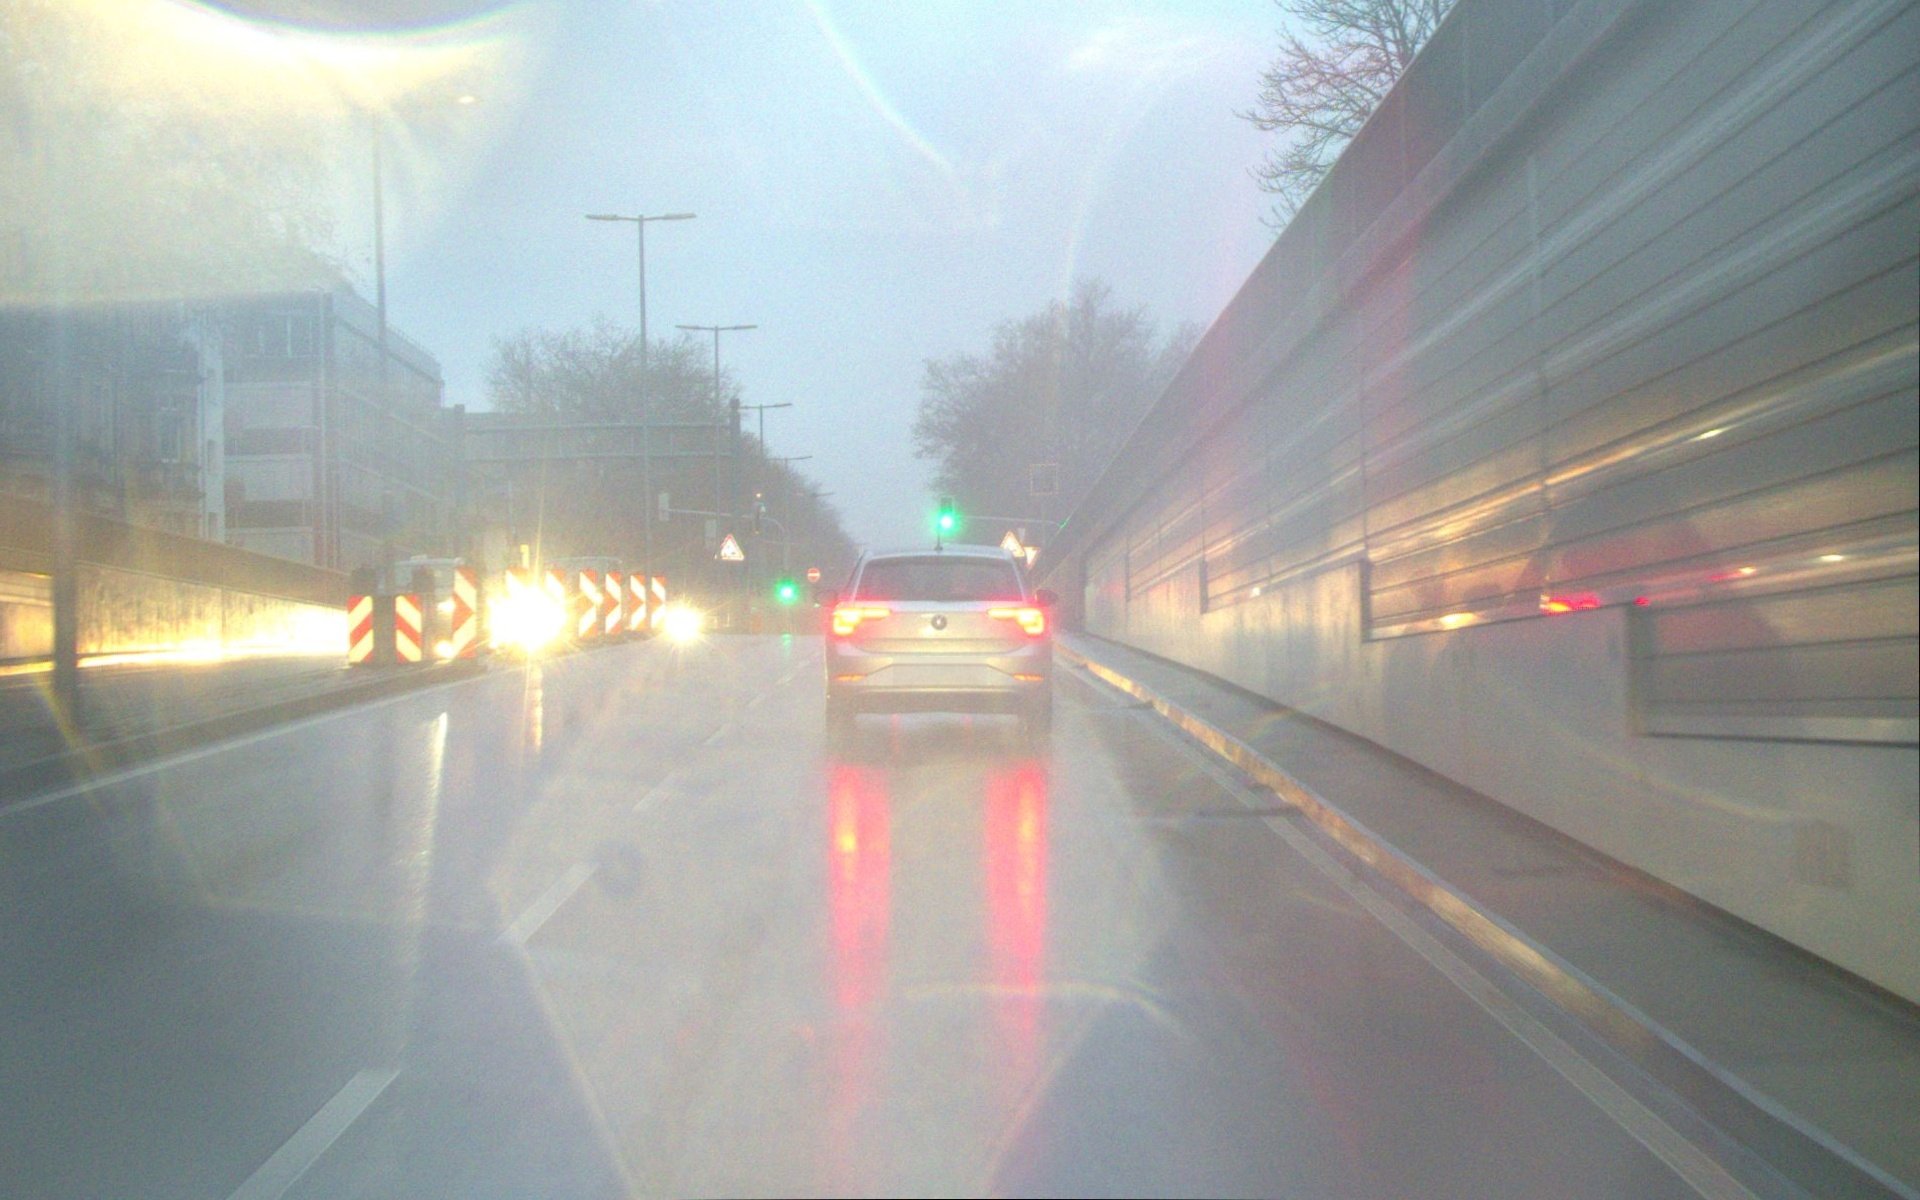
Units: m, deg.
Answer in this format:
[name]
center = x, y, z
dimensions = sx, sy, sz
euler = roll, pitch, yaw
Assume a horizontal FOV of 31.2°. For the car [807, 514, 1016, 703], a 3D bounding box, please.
[car]
center = -0.374, 0.085, 26.975
dimensions = 1.532, 1.392, 3.434
euler = 0, -1, -1
